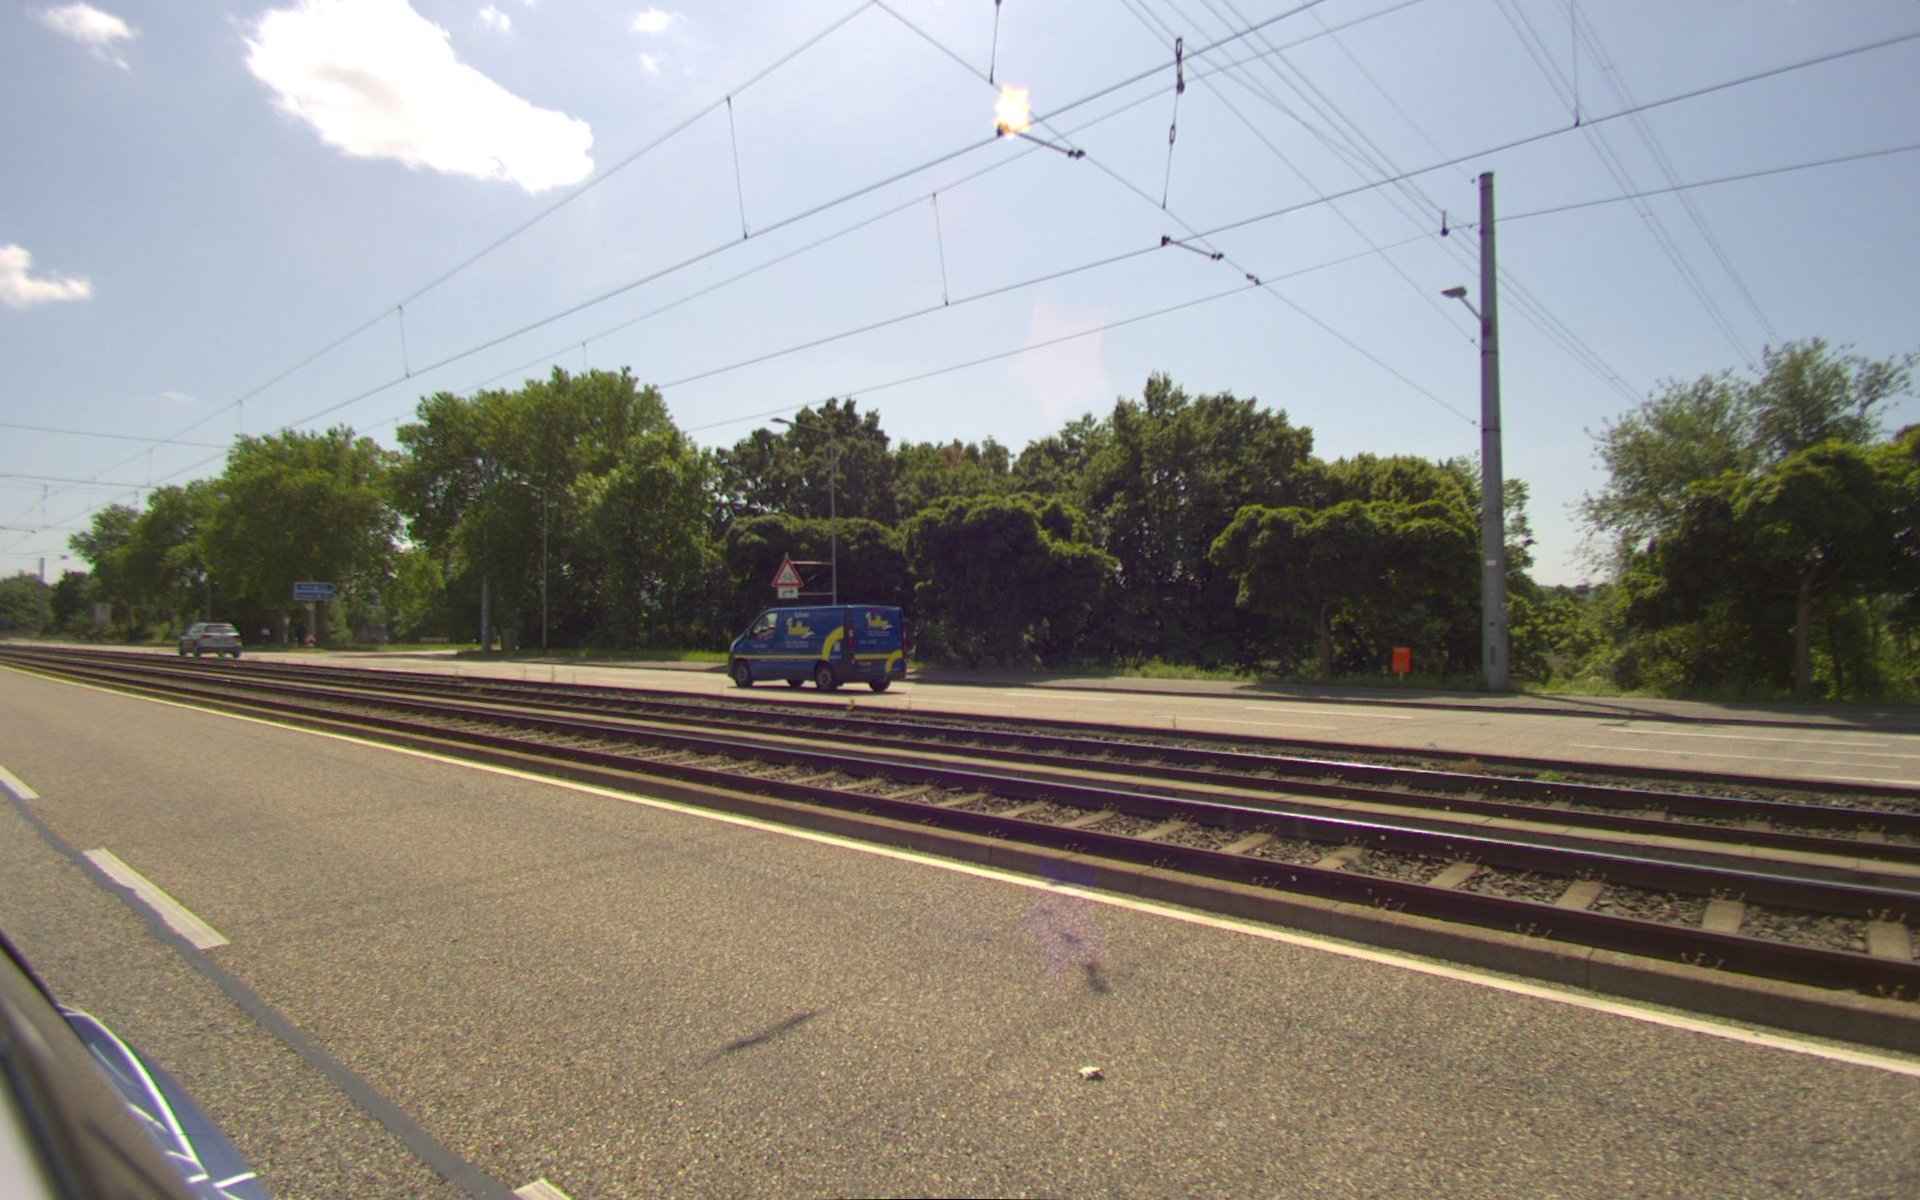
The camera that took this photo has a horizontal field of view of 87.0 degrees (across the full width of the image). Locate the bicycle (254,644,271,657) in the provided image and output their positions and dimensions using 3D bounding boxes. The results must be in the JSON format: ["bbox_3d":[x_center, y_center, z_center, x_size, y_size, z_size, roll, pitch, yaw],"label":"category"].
[{"bbox_3d":[-54.220,3.908,78.680,2.090,0.946,0.615,-2,-2,41],"label":"bicycle"}]

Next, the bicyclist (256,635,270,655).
[{"bbox_3d":[-54.268,3.496,78.755,1.159,1.529,0.615,-2,-2,41],"label":"bicyclist"}]

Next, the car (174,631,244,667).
[{"bbox_3d":[-36.506,2.369,49.136,4.492,1.638,1.782,-2,-4,41],"label":"car"}]

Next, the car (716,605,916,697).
[{"bbox_3d":[-3.483,1.183,23.853,5.005,1.942,1.837,-2,-4,41],"label":"car"}]

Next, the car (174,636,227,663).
[{"bbox_3d":[-47.823,3.083,63.718,4.209,1.638,1.782,-2,-4,41],"label":"car"}]
